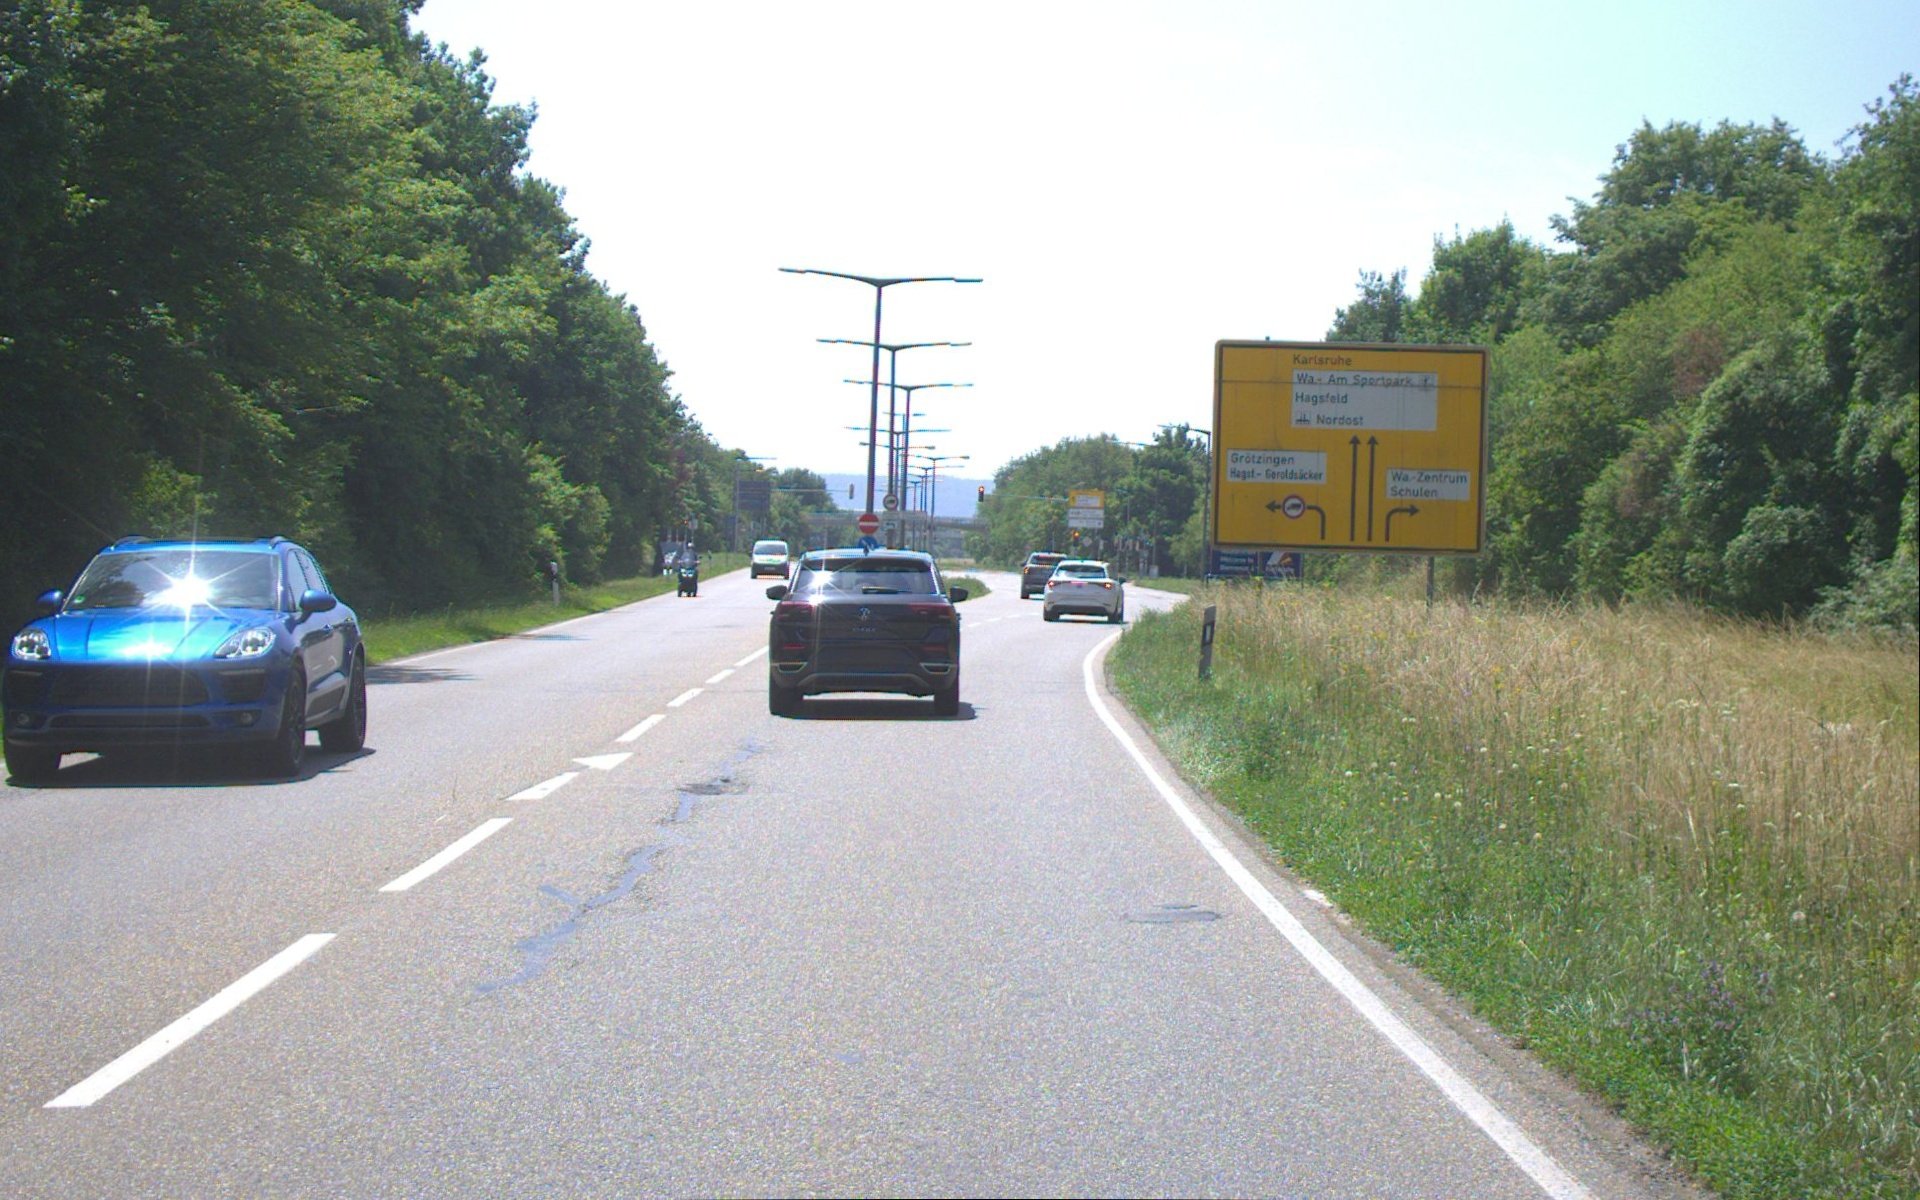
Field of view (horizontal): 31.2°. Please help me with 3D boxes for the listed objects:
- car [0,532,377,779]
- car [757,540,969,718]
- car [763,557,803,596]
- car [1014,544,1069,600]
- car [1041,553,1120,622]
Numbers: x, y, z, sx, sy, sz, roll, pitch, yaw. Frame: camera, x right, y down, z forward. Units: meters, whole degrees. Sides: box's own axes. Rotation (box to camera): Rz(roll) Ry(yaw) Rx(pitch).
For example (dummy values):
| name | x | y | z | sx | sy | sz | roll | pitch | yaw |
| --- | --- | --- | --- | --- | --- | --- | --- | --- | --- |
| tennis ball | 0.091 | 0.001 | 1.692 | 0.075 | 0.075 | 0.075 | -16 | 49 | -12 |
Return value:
| name | x | y | z | sx | sy | sz | roll | pitch | yaw |
| --- | --- | --- | --- | --- | --- | --- | --- | --- | --- |
| car | -5.390 | 0.323 | 24.368 | 1.823 | 1.584 | 4.419 | 0 | 1 | -1 |
| car | -0.993 | 0.240 | 32.983 | 1.755 | 1.551 | 4.001 | 2 | 0 | -5 |
| car | -8.039 | -1.082 | 156.274 | 1.731 | 1.682 | 4.095 | 0 | 1 | -1 |
| car | 2.942 | -1.020 | 125.232 | 1.755 | 1.922 | 4.000 | 3 | 1 | -1 |
| car | 2.836 | -0.316 | 81.722 | 1.797 | 1.577 | 4.000 | 0 | 1 | 1 |
